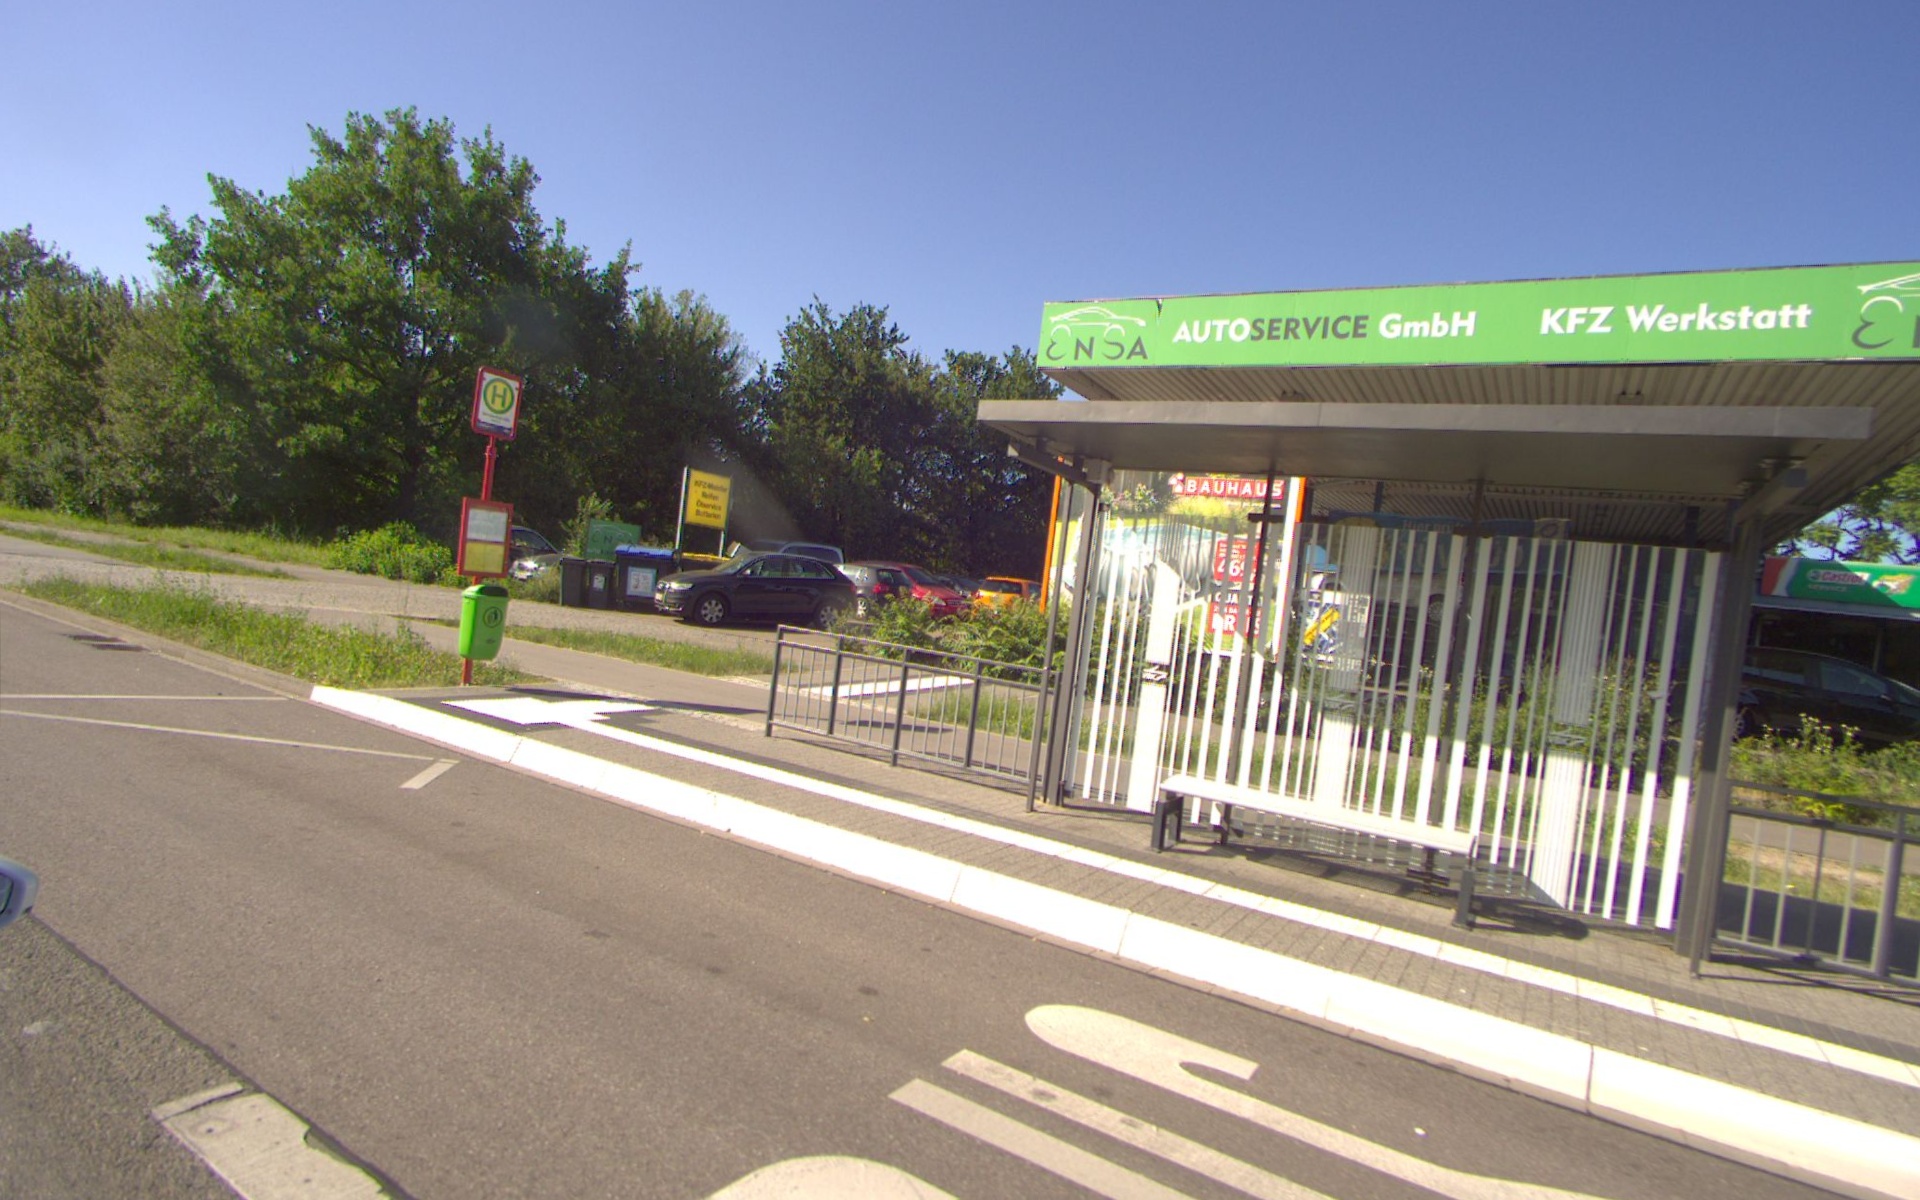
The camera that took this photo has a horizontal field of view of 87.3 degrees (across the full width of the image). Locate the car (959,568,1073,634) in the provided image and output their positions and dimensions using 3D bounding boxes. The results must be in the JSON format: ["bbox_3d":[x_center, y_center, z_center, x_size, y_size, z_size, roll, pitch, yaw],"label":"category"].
[{"bbox_3d":[1.698,0.077,28.946,1.668,1.536,3.994,7,0,27],"label":"car"}]

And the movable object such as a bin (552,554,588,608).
[{"bbox_3d":[-8.467,-0.417,21.834,0.501,1.088,0.581,8,1,-10],"label":"movable object such as a bin"}]

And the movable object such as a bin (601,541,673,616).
[{"bbox_3d":[-7.098,-0.461,22.164,1.240,1.446,0.986,8,0,-11],"label":"movable object such as a bin"}]

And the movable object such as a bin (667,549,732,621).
[{"bbox_3d":[-5.888,-0.330,22.816,1.204,1.446,0.986,7,0,-11],"label":"movable object such as a bin"}]

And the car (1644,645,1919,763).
[{"bbox_3d":[14.619,1.788,17.817,1.672,1.438,3.680,8,0,-24],"label":"car"}]

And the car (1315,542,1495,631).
[{"bbox_3d":[11.092,-0.346,25.117,3.716,1.777,1.920,7,1,33],"label":"car"}]

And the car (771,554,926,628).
[{"bbox_3d":[-3.073,-0.250,27.587,3.850,1.481,1.727,7,-1,32],"label":"car"}]

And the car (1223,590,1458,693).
[{"bbox_3d":[7.751,0.846,20.763,3.930,1.503,1.999,8,-1,-5],"label":"car"}]

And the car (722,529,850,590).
[{"bbox_3d":[-5.527,-1.259,32.420,1.706,1.551,4.037,7,2,33],"label":"car"}]

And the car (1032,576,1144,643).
[{"bbox_3d":[3.661,0.311,28.134,1.705,1.536,3.994,7,0,27],"label":"car"}]

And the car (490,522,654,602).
[{"bbox_3d":[-9.528,-0.903,24.889,1.700,1.434,3.289,7,-2,33],"label":"car"}]

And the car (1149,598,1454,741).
[{"bbox_3d":[5.398,1.044,16.060,4.178,1.592,1.746,7,0,33],"label":"car"}]

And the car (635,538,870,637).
[{"bbox_3d":[-4.393,-0.247,21.498,4.507,1.662,1.787,5,2,-29],"label":"car"}]

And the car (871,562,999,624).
[{"bbox_3d":[-0.798,-0.232,31.957,3.643,1.481,1.611,7,-1,32],"label":"car"}]

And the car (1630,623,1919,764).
[{"bbox_3d":[13.360,1.502,16.262,3.933,1.666,1.997,7,-1,31],"label":"car"}]

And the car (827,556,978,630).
[{"bbox_3d":[-1.728,-0.210,29.740,4.067,1.626,1.716,7,-1,32],"label":"car"}]

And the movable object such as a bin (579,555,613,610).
[{"bbox_3d":[-7.976,-0.384,22.055,0.501,1.135,0.581,7,1,-10],"label":"movable object such as a bin"}]

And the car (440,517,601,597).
[{"bbox_3d":[-11.280,-1.081,25.991,1.743,1.503,3.289,7,-2,33],"label":"car"}]
